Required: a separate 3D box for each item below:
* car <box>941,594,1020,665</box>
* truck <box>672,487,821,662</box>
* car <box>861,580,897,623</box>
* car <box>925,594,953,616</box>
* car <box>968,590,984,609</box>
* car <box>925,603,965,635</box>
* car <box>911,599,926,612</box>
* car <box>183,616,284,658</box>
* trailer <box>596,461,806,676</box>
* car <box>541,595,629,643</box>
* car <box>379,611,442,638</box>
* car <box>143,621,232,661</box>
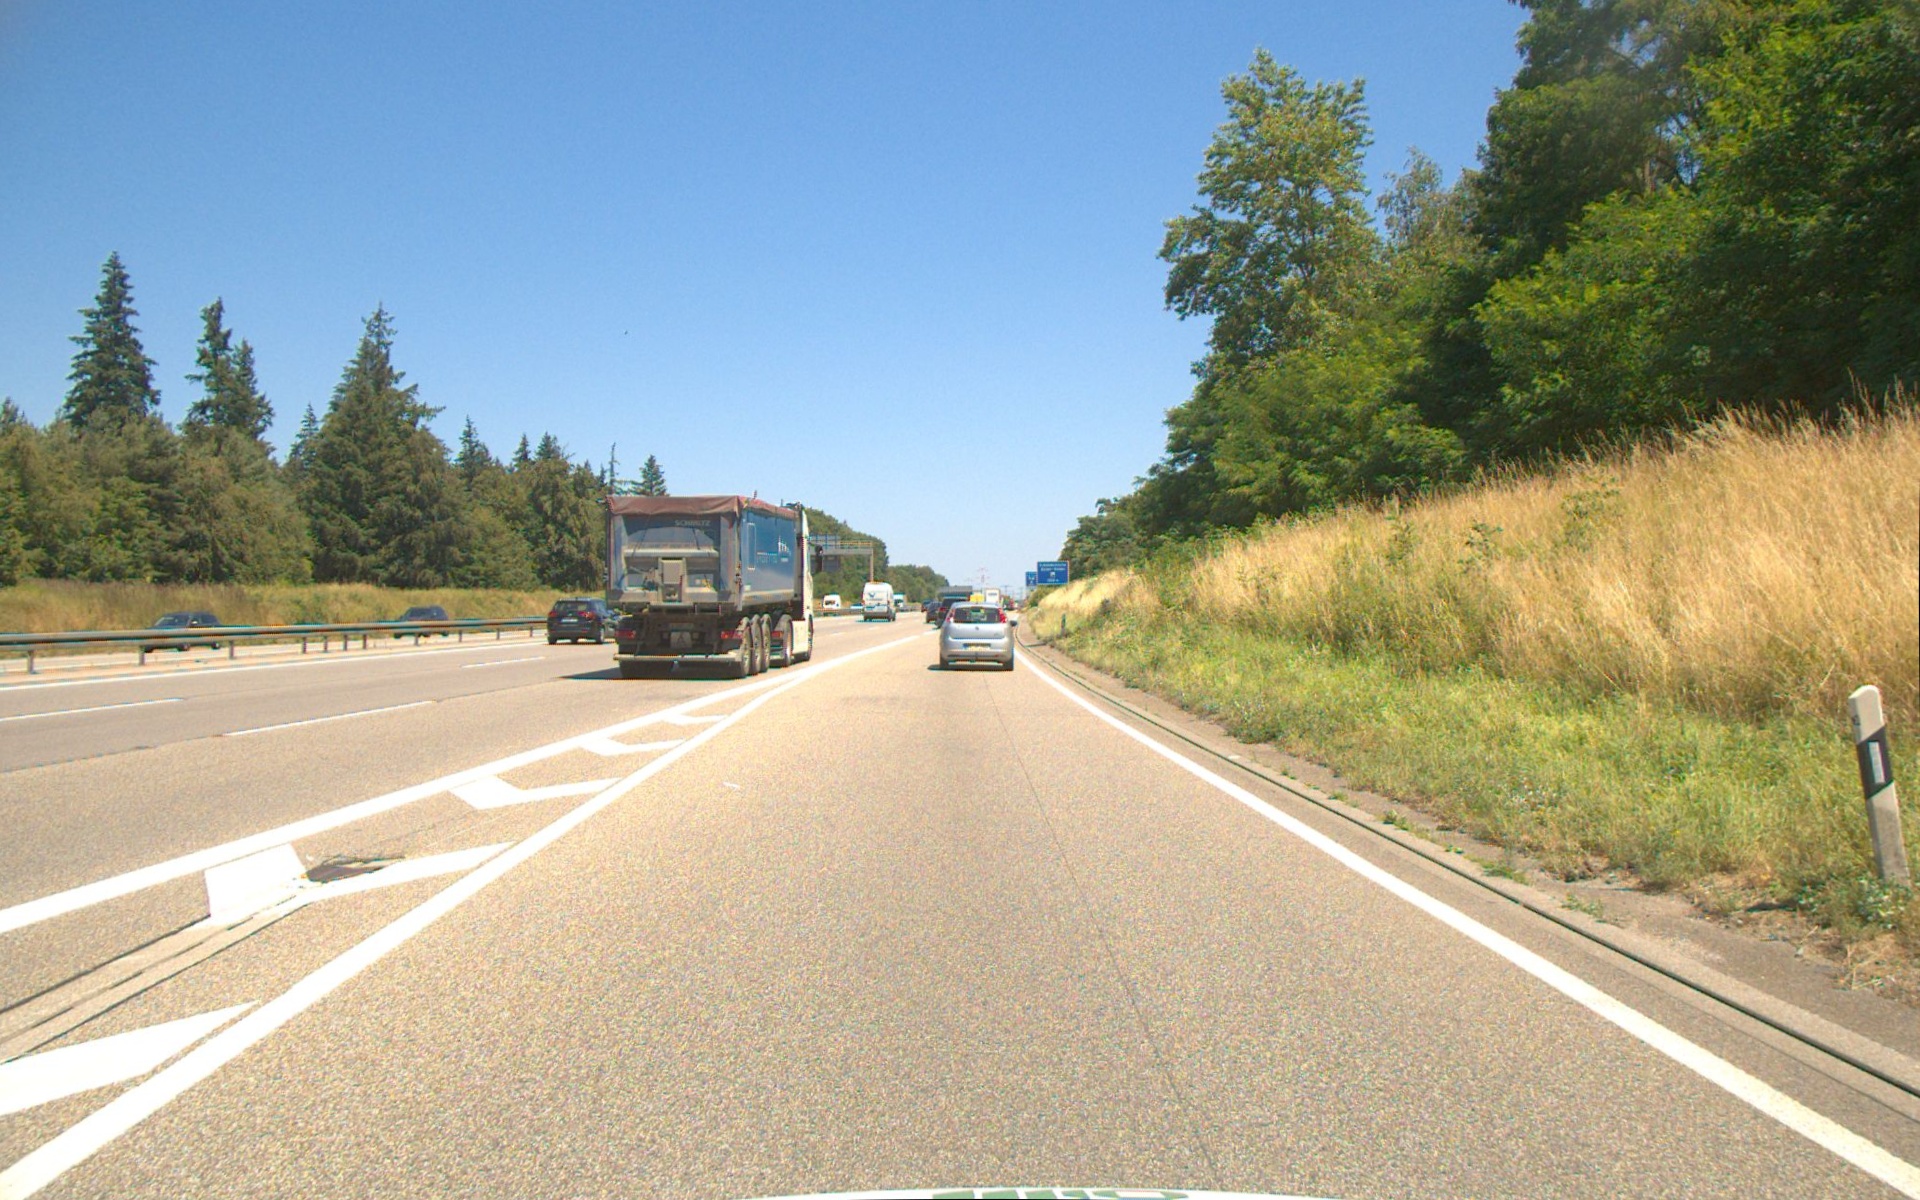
[{"bbox_3d":[0.440,0.624,37.181,1.684,1.518,3.737,0,0,0],"label":"car"},{"bbox_3d":[-4.924,-0.563,39.186,2.629,3.824,5.945,0,0,1],"label":"truck"},{"bbox_3d":[-5.958,0.125,122.195,2.213,3.002,6.114,1,0,1],"label":"car"},{"bbox_3d":[-1.455,0.380,115.610,1.855,1.495,4.261,1,0,0],"label":"car"},{"bbox_3d":[1.733,-0.009,178.955,1.578,2.049,4.000,1,0,1],"label":"car"},{"bbox_3d":[-0.804,1.051,91.505,1.793,1.701,4.002,1,-1,5],"label":"car"},{"bbox_3d":[-6.089,0.793,242.751,2.112,1.846,4.860,0,0,0],"label":"car"},{"bbox_3d":[-23.509,1.188,53.664,1.587,1.282,3.568,-1,0,2],"label":"car"},{"bbox_3d":[-5.066,-0.564,34.182,2.680,3.824,9.110,0,0,1],"label":"trailer"},{"bbox_3d":[-12.305,0.581,54.557,1.668,1.500,4.598,-1,0,2],"label":"car"},{"bbox_3d":[-30.352,1.364,91.518,1.752,1.445,4.437,0,0,3],"label":"car"},{"bbox_3d":[-31.964,1.672,68.550,1.526,1.554,4.002,1,-1,4],"label":"car"}]
